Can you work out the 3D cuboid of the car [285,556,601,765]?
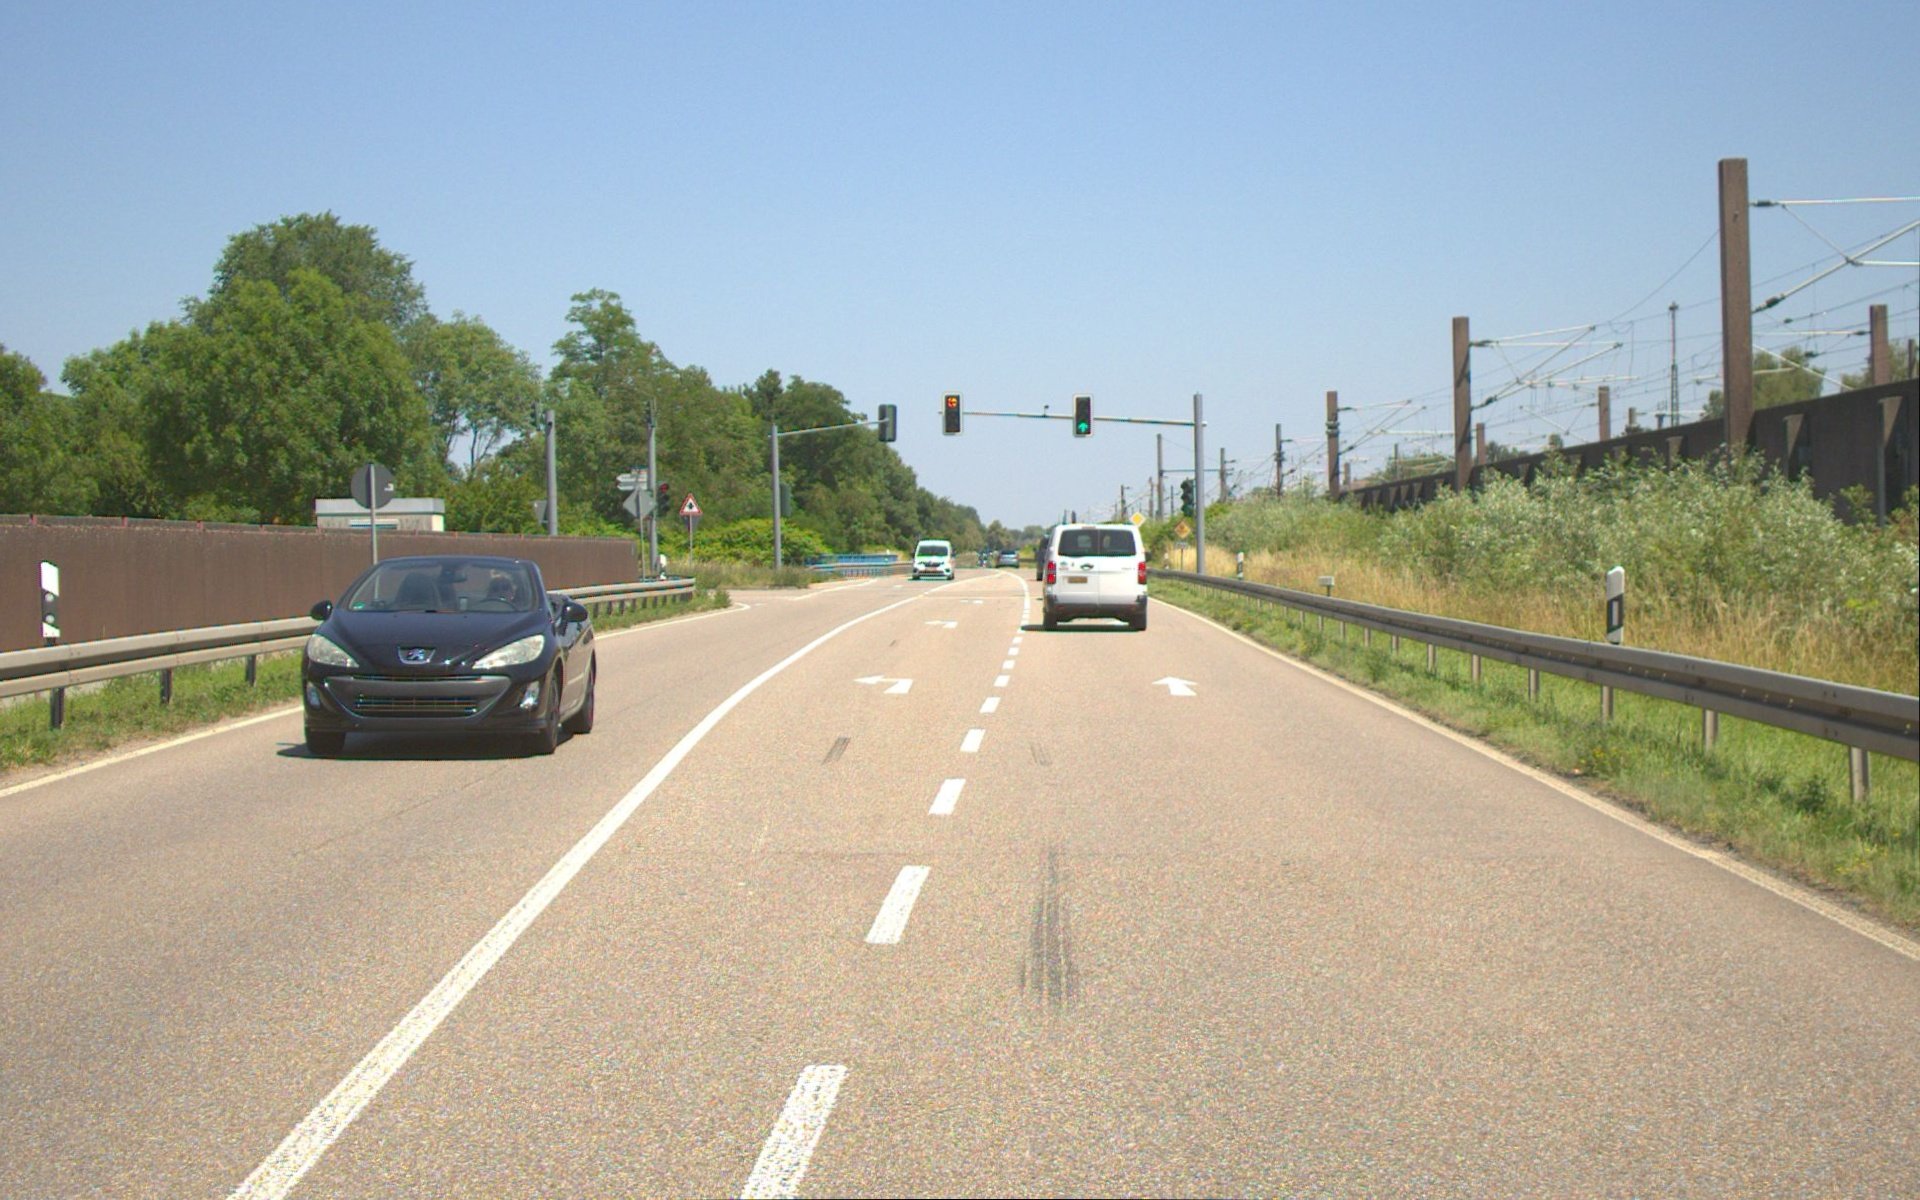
[{"bbox_3d":[-3.760,0.390,25.655,1.845,1.385,4.191,1,1,-2],"label":"car"}]

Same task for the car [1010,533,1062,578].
[{"bbox_3d":[3.364,-1.981,153.048,2.155,1.961,4.543,0,1,0],"label":"car"}]

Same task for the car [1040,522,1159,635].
[{"bbox_3d":[2.528,-0.415,63.068,1.993,1.977,4.060,1,1,0],"label":"car"}]

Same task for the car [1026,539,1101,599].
[{"bbox_3d":[2.996,-0.921,100.184,2.019,1.720,4.543,0,1,0],"label":"car"}]

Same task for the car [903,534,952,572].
[{"bbox_3d":[-1.528,-2.181,158.900,1.887,1.734,4.777,0,1,-5],"label":"car"}]
